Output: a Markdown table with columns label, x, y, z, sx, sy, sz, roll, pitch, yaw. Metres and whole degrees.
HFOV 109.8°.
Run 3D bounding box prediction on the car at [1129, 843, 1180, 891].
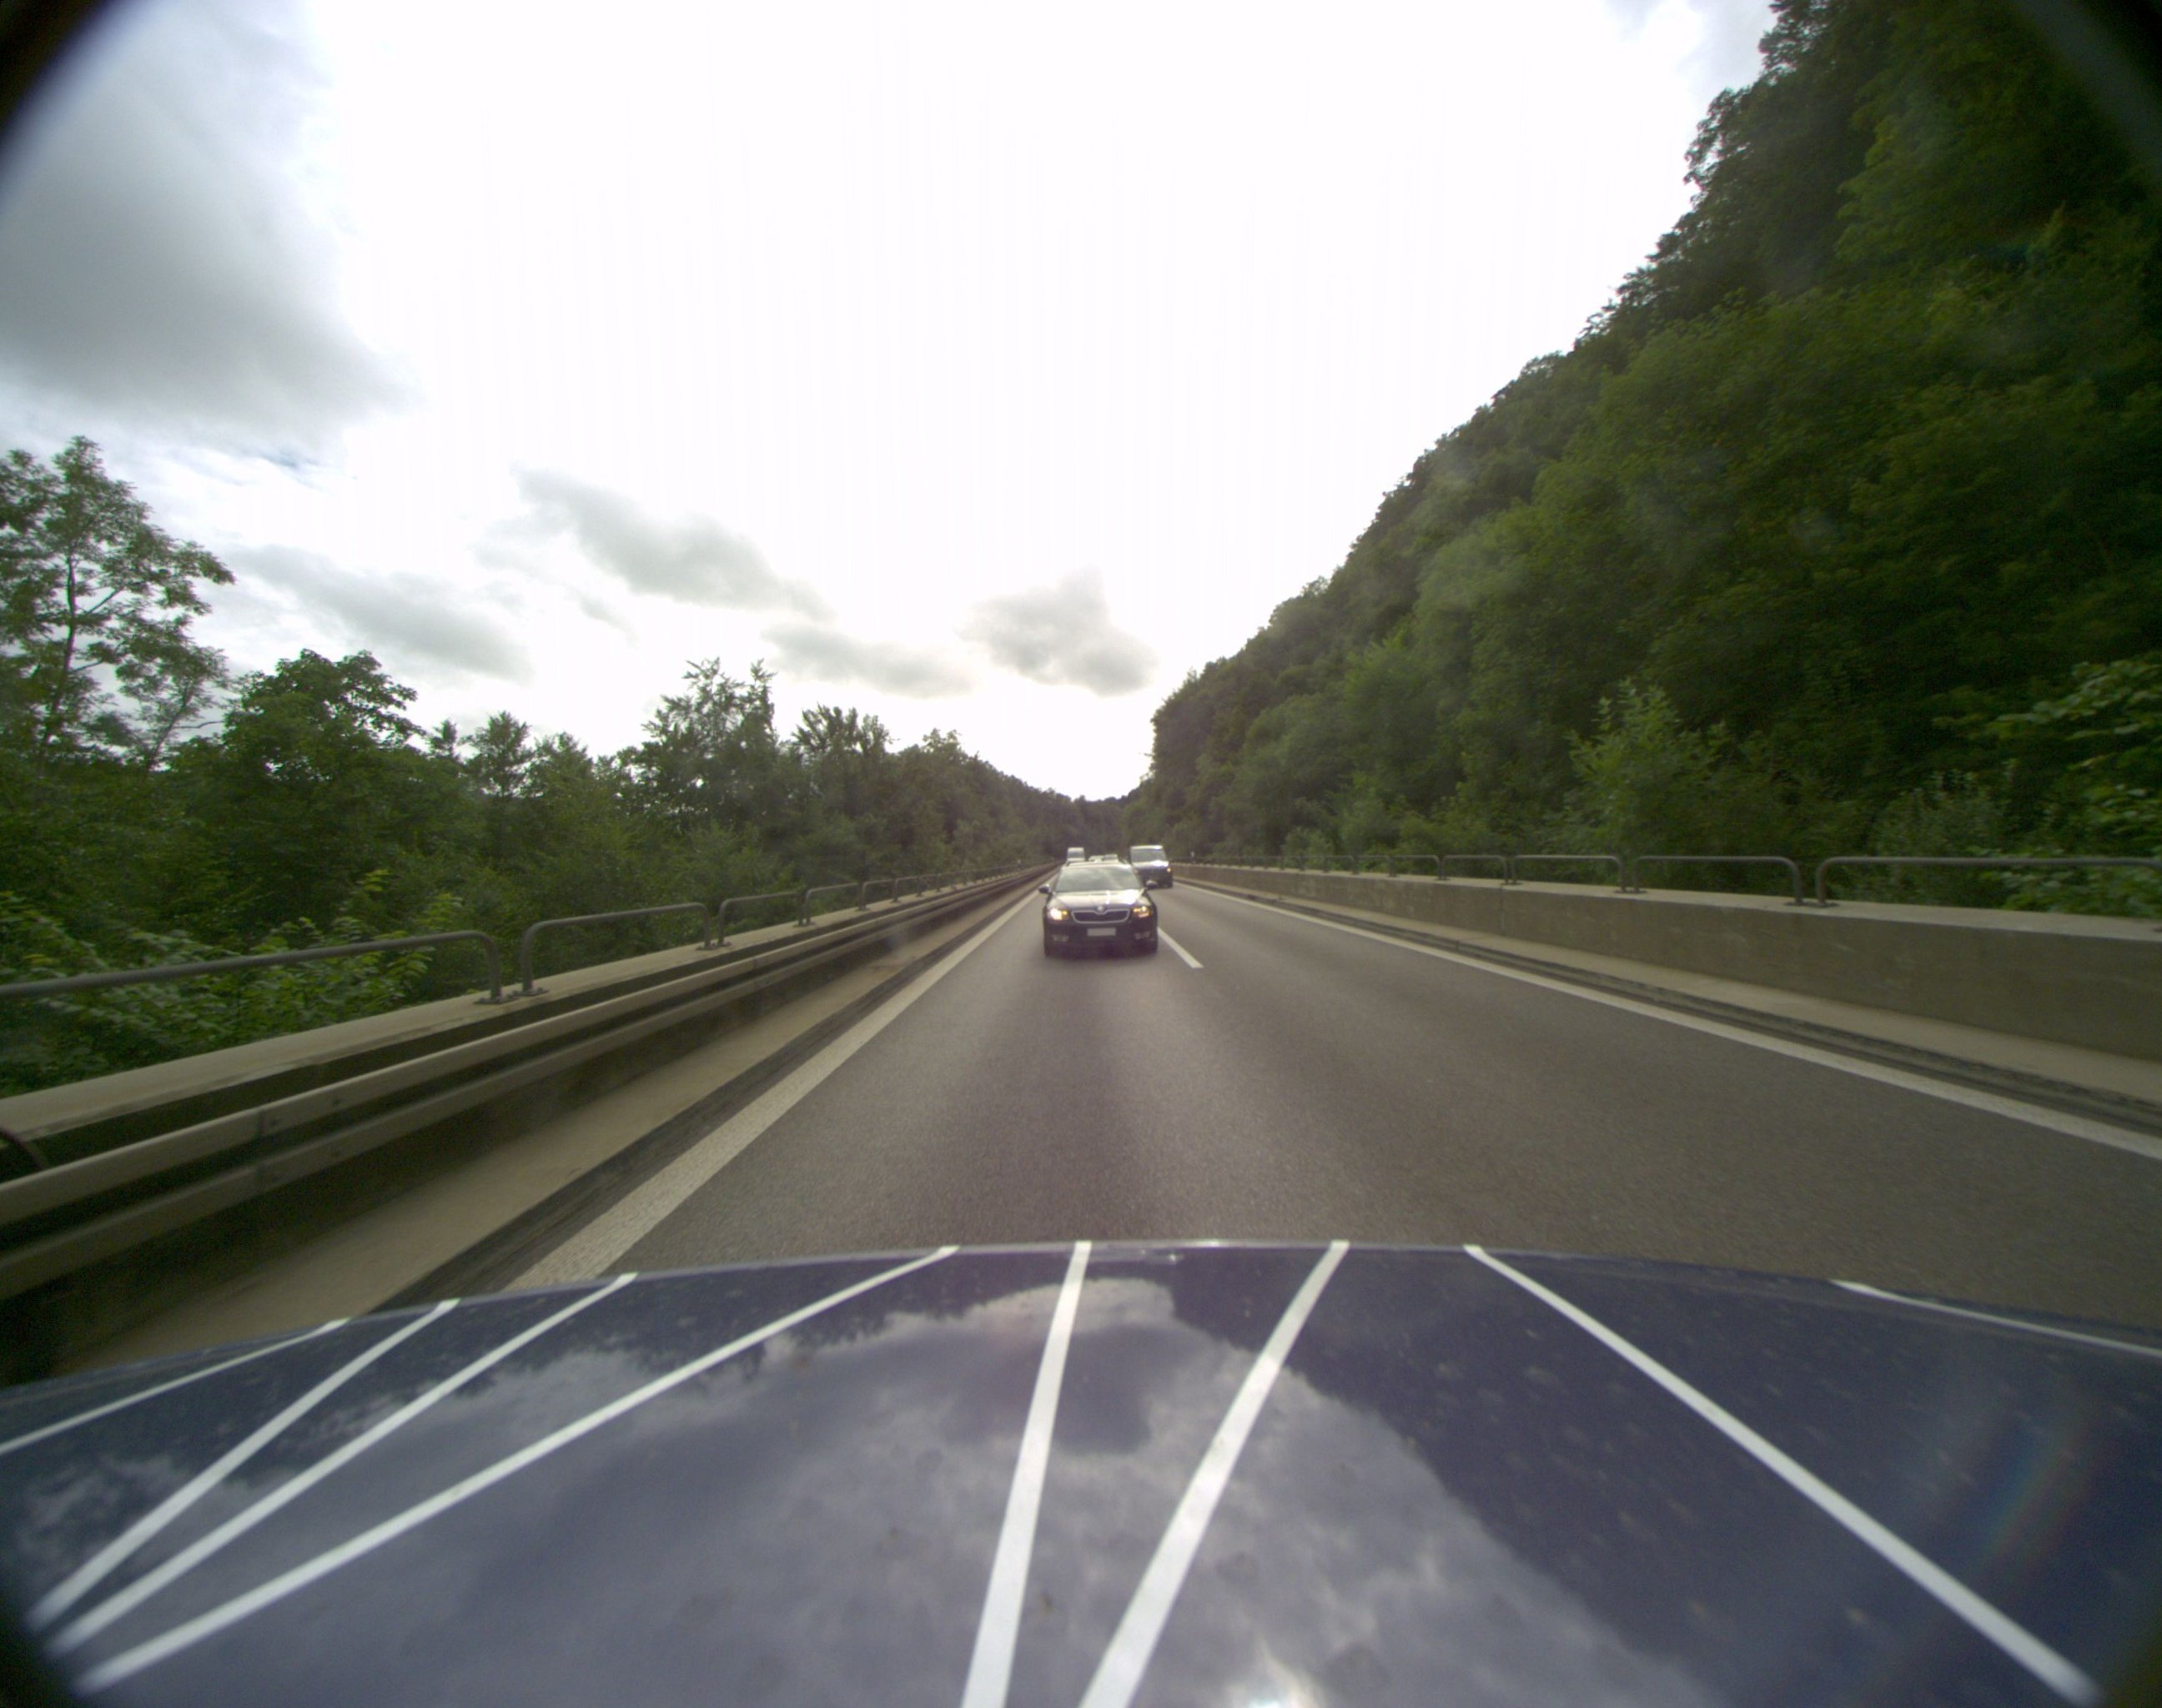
| label | x | y | z | sx | sy | sz | roll | pitch | yaw |
| --- | --- | --- | --- | --- | --- | --- | --- | --- | --- |
| car | 3.431 | 0.546 | 36.248 | 1.998 | 2.002 | 5.541 | -4 | 0 | 3 |

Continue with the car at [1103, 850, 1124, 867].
| label | x | y | z | sx | sy | sz | roll | pitch | yaw |
| --- | --- | --- | --- | --- | --- | --- | --- | --- | --- |
| car | 3.321 | 0.411 | 77.578 | 1.976 | 1.584 | 5.585 | -1 | 1 | 2 |

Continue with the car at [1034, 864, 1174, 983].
| label | x | y | z | sx | sy | sz | roll | pitch | yaw |
| --- | --- | --- | --- | --- | --- | --- | --- | --- | --- |
| car | 0.287 | 0.891 | 11.454 | 1.638 | 1.384 | 4.499 | -2 | -1 | 0 |

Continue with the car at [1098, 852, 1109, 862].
| label | x | y | z | sx | sy | sz | roll | pitch | yaw |
| --- | --- | --- | --- | --- | --- | --- | --- | --- | --- |
| car | 3.656 | 0.445 | 125.513 | 1.823 | 1.546 | 4.001 | 1 | -1 | 1 |

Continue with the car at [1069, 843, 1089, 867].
| label | x | y | z | sx | sy | sz | roll | pitch | yaw |
| --- | --- | --- | --- | --- | --- | --- | --- | --- | --- |
| car | -0.195 | 0.150 | 85.617 | 2.099 | 2.547 | 5.921 | 1 | -1 | 1 |
